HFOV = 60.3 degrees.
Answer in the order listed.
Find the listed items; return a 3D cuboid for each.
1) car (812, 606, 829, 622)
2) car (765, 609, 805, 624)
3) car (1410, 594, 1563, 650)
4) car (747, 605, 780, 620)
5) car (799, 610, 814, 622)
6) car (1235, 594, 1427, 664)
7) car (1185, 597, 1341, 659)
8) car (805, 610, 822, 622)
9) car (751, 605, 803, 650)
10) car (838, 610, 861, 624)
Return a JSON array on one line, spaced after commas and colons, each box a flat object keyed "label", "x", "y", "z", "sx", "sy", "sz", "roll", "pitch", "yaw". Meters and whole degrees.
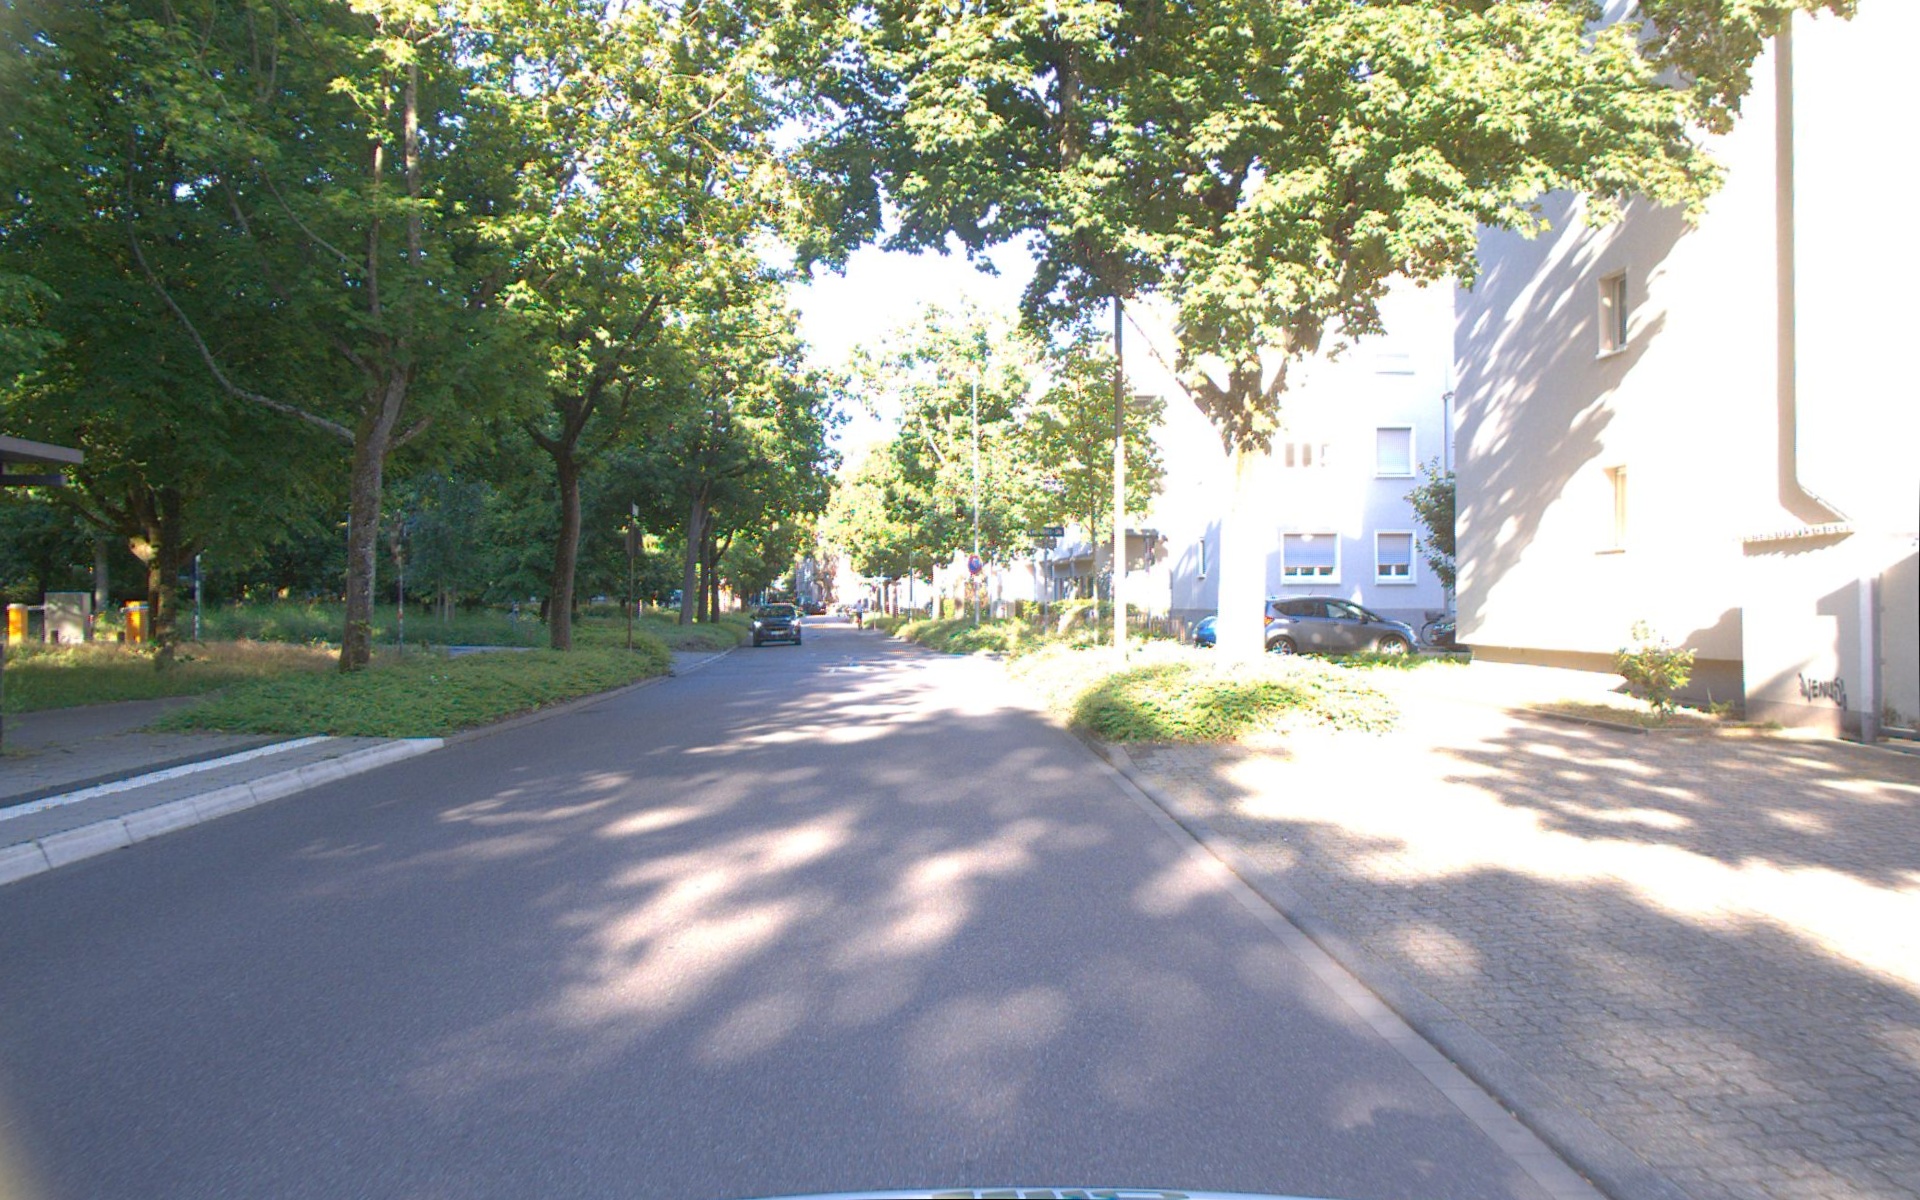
[{"label": "car", "x": -17.378, "y": 1.755, "z": 206.486, "sx": 1.778, "sy": 1.959, "sz": 3.991, "roll": 1, "pitch": -1, "yaw": -9}, {"label": "car", "x": -18.583, "y": 1.714, "z": 175.514, "sx": 3.919, "sy": 1.527, "sz": 1.811, "roll": 1, "pitch": -1, "yaw": -14}, {"label": "car", "x": 14.786, "y": 0.621, "z": 46.544, "sx": 3.749, "sy": 1.524, "sz": 1.647, "roll": 0, "pitch": 0, "yaw": -4}, {"label": "car", "x": -22.296, "y": 1.405, "z": 187.550, "sx": 3.526, "sy": 1.537, "sz": 1.495, "roll": 1, "pitch": -1, "yaw": -14}, {"label": "car", "x": -20.485, "y": 2.085, "z": 220.888, "sx": 1.778, "sy": 1.527, "sz": 3.991, "roll": 1, "pitch": 0, "yaw": -9}, {"label": "car", "x": 8.457, "y": 0.679, "z": 37.862, "sx": 3.962, "sy": 1.541, "sz": 1.725, "roll": 1, "pitch": -2, "yaw": -5}, {"label": "car", "x": 8.325, "y": 0.751, "z": 45.610, "sx": 3.910, "sy": 1.609, "sz": 1.807, "roll": 0, "pitch": 1, "yaw": -7}, {"label": "car", "x": -19.002, "y": 2.028, "z": 214.482, "sx": 1.778, "sy": 1.527, "sz": 3.991, "roll": 1, "pitch": 0, "yaw": -9}, {"label": "car", "x": -6.944, "y": 1.008, "z": 63.039, "sx": 1.808, "sy": 1.606, "sz": 4.331, "roll": -2, "pitch": 0, "yaw": -5}, {"label": "car", "x": -11.922, "y": 1.804, "z": 178.224, "sx": 1.780, "sy": 1.527, "sz": 3.986, "roll": 0, "pitch": 0, "yaw": -13}]
